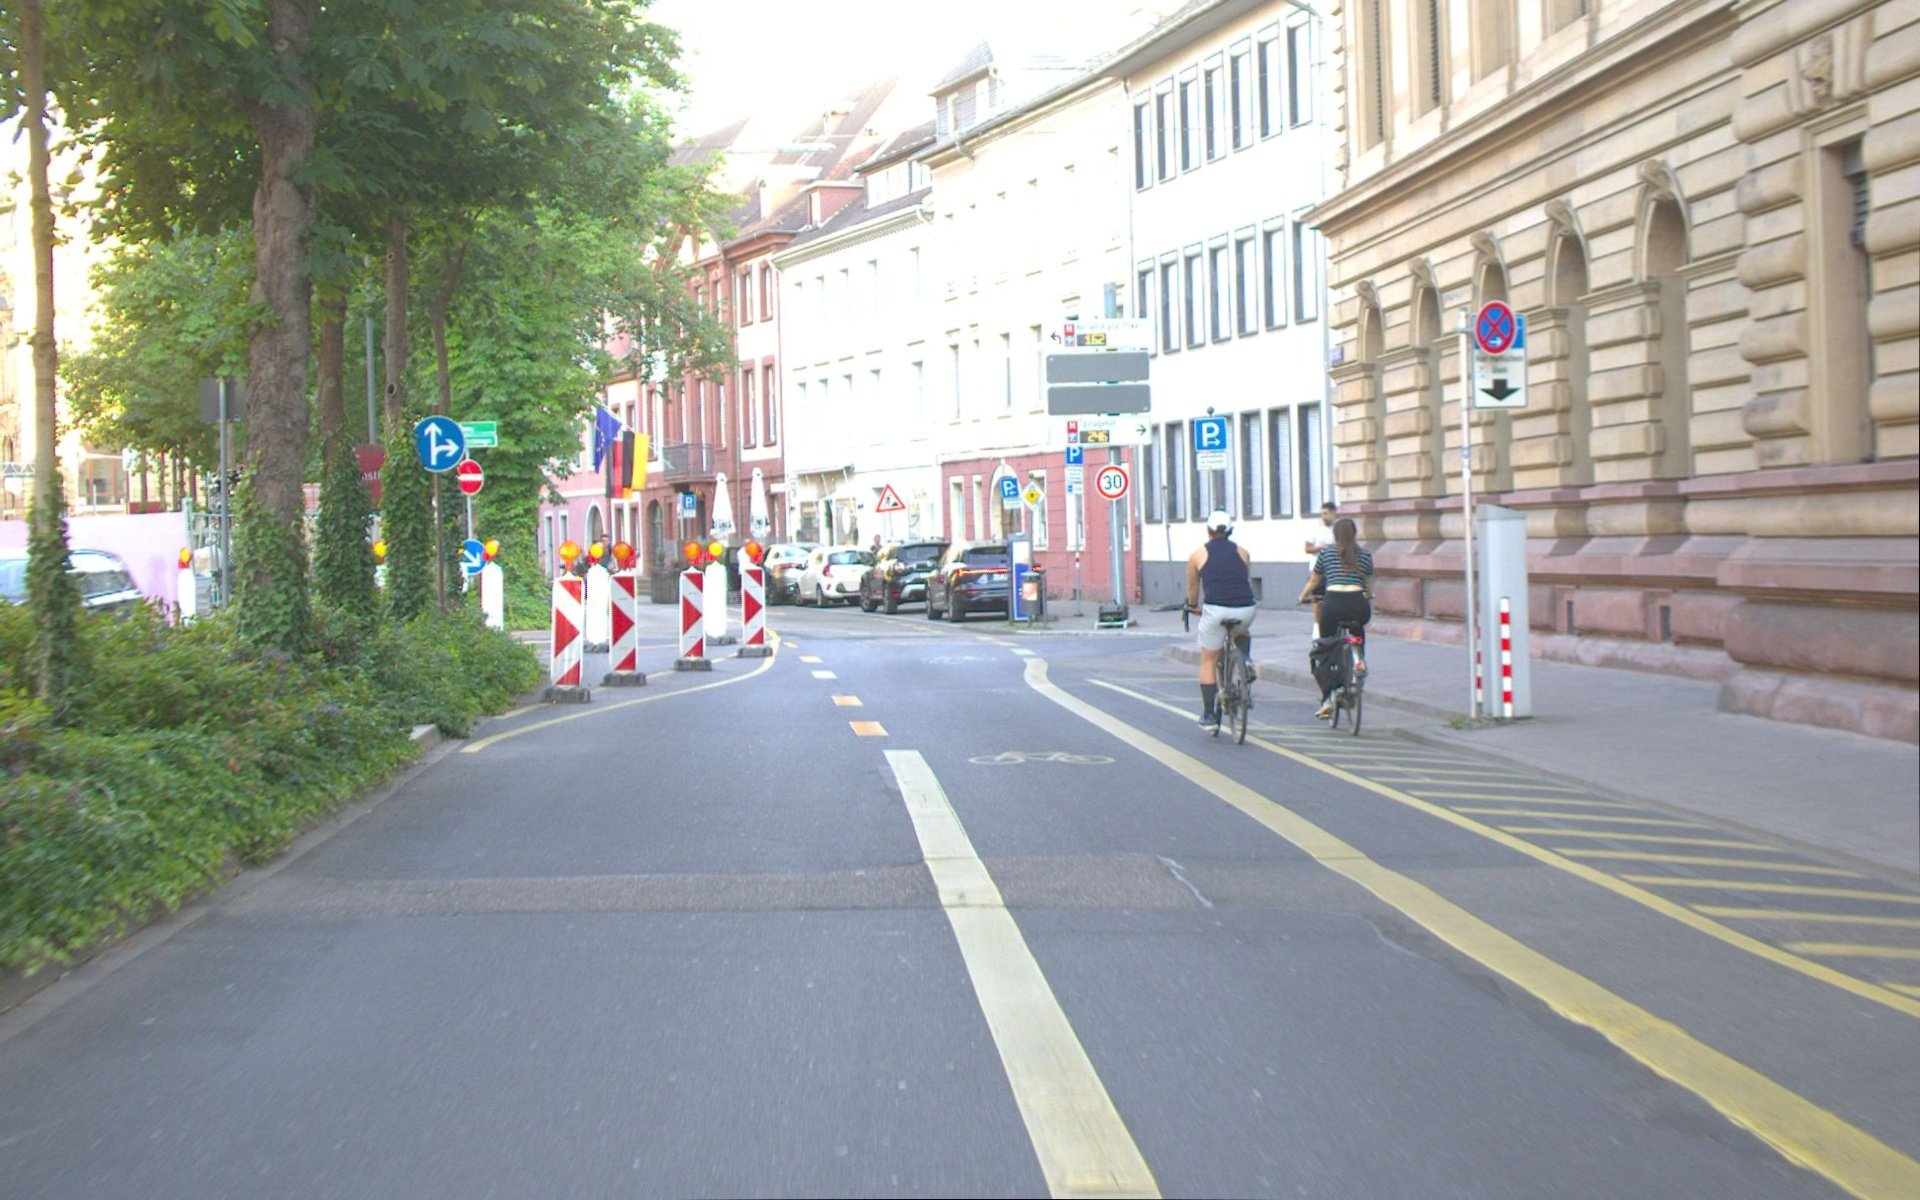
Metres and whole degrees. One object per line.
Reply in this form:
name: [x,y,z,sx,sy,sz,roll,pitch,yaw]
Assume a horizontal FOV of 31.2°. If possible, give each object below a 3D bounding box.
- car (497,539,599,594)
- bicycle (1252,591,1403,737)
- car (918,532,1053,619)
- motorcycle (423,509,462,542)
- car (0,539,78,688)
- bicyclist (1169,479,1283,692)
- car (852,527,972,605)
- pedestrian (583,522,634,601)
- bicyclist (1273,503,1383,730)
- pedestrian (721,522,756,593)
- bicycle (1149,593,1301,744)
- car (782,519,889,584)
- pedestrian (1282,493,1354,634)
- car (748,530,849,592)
car: [-12.047,-0.989,100.404,1.812,1.554,3.865,-1,1,-25]
bicycle: [2.879,0.481,27.160,0.652,1.067,2.258,1,1,-8]
car: [0.482,-0.505,69.399,1.812,1.676,3.920,-1,1,-14]
motorcycle: [-20.065,-2.891,133.352,1.041,1.244,2.399,-1,1,-19]
car: [-11.008,0.171,36.968,1.842,1.546,4.175,-3,1,1]
bicyclist: [1.981,-0.109,25.671,0.668,1.560,0.699,1,1,-10]
car: [-1.100,-0.780,77.229,1.812,1.678,4.001,-1,1,-14]
pedestrian: [-7.481,-0.820,73.194,0.736,1.668,0.894,-1,1,19]
bicyclist: [2.891,0.122,27.074,0.649,1.754,0.864,1,1,-8]
pedestrian: [-5.763,-1.120,89.430,0.831,1.838,0.958,0,1,1]
bicycle: [1.966,0.492,25.780,0.669,1.067,1.902,0,1,-10]
car: [-3.121,-1.197,85.310,1.812,1.554,3.866,-1,1,-15]
pedestrian: [4.510,-0.470,43.390,0.817,1.759,1.038,0,1,1]
car: [-4.224,-1.020,89.608,1.812,1.554,3.866,-1,1,-15]
